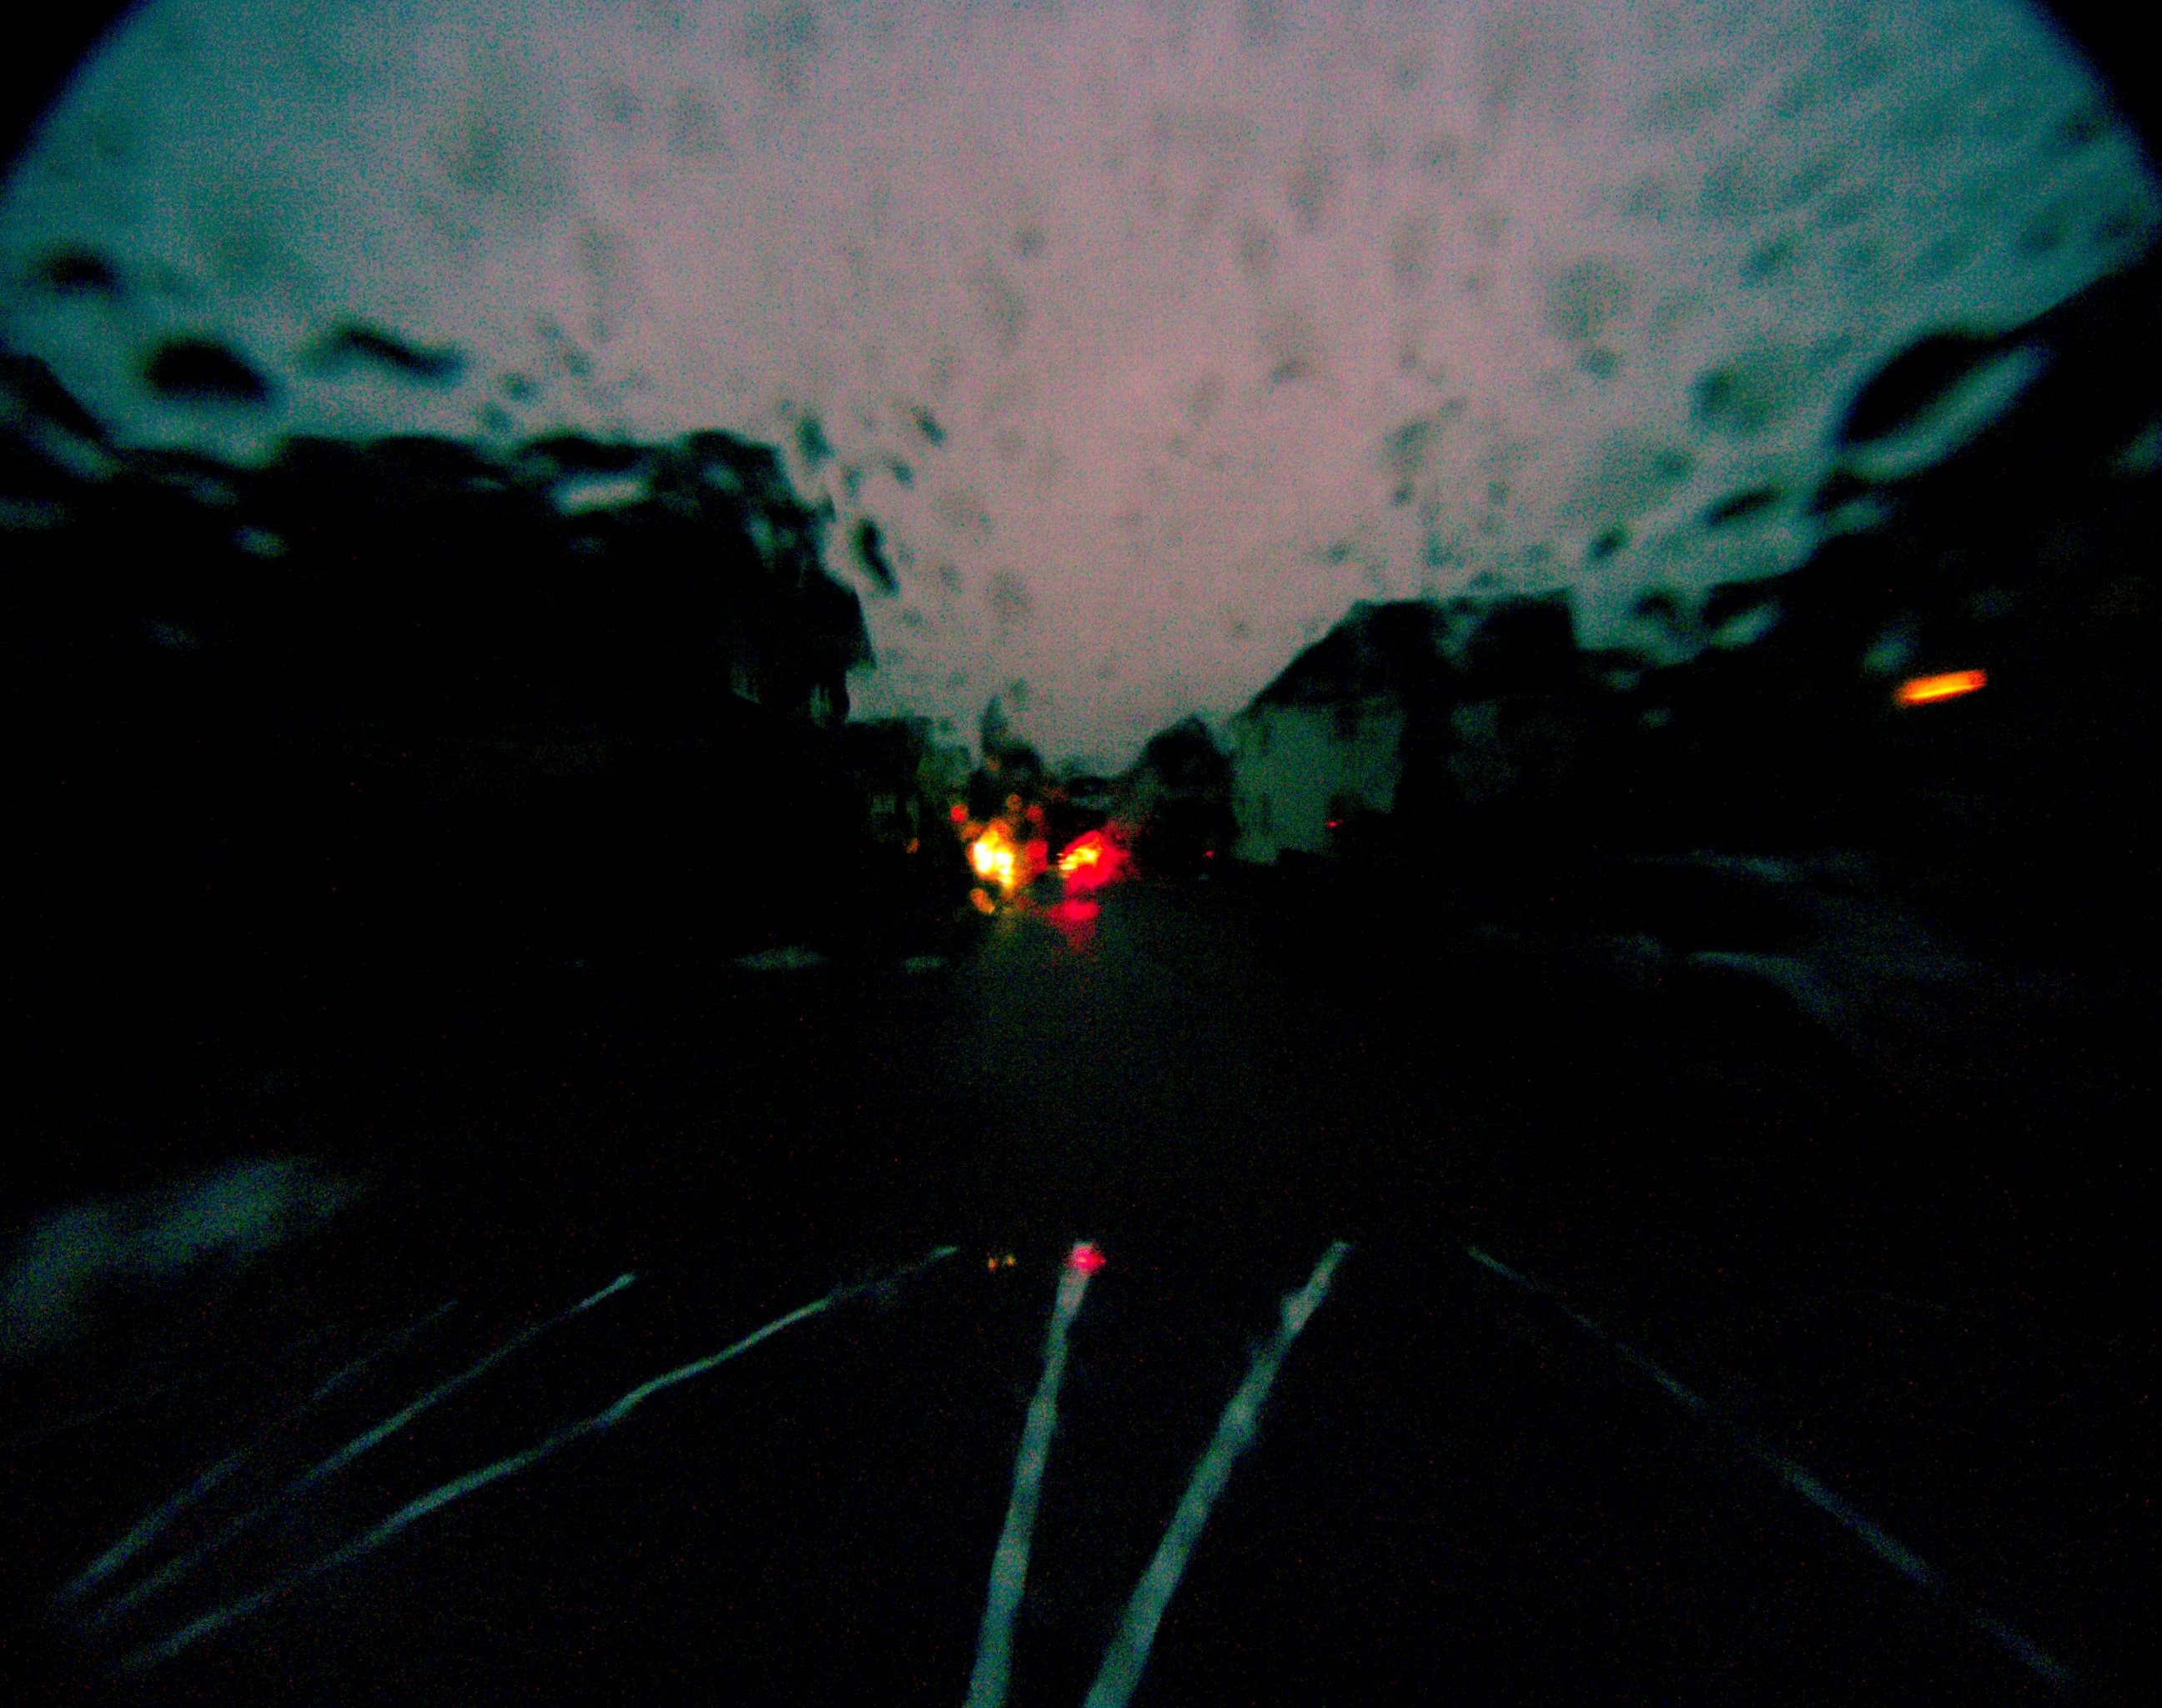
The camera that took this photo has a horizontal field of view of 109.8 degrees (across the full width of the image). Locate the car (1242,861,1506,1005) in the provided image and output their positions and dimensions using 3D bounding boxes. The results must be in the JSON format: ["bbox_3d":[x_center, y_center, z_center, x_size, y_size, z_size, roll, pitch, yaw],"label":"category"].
[{"bbox_3d":[3.595,0.864,10.225,1.828,1.432,4.066,-2,0,-2],"label":"car"}]

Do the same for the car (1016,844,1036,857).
[{"bbox_3d":[-6.963,-0.456,95.949,2.000,1.620,3.995,-2,2,-11],"label":"car"}]

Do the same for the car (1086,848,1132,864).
[{"bbox_3d":[2.656,0.211,72.254,2.003,1.417,4.225,-3,2,-39],"label":"car"}]

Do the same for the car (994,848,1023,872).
[{"bbox_3d":[-6.593,0.505,68.825,2.001,2.002,3.994,-2,2,-14],"label":"car"}]

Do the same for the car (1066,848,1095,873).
[{"bbox_3d":[-0.053,0.448,54.503,1.763,1.572,3.997,-2,2,-4],"label":"car"}]

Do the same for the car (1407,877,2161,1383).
[{"bbox_3d":[3.764,0.925,4.472,1.753,1.380,4.145,-2,0,-2],"label":"car"}]

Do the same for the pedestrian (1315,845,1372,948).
[{"bbox_3d":[4.711,0.738,13.674,0.708,1.769,0.811,-2,2,-2],"label":"pedestrian"}]

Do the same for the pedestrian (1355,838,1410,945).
[{"bbox_3d":[5.413,0.643,13.667,0.599,1.859,0.811,-2,2,-3],"label":"pedestrian"}]

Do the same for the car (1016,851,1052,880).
[{"bbox_3d":[-2.717,0.614,42.961,1.731,1.423,4.794,-2,2,-7],"label":"car"}]

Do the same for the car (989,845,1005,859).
[{"bbox_3d":[-9.897,-0.243,89.633,1.765,1.489,3.996,-3,2,-7],"label":"car"}]

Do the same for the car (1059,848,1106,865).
[{"bbox_3d":[0.145,0.287,79.693,4.483,1.570,1.997,-2,2,-16],"label":"car"}]

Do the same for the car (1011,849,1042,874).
[{"bbox_3d":[-3.575,0.458,49.527,1.795,1.431,4.619,-2,2,-6],"label":"car"}]
